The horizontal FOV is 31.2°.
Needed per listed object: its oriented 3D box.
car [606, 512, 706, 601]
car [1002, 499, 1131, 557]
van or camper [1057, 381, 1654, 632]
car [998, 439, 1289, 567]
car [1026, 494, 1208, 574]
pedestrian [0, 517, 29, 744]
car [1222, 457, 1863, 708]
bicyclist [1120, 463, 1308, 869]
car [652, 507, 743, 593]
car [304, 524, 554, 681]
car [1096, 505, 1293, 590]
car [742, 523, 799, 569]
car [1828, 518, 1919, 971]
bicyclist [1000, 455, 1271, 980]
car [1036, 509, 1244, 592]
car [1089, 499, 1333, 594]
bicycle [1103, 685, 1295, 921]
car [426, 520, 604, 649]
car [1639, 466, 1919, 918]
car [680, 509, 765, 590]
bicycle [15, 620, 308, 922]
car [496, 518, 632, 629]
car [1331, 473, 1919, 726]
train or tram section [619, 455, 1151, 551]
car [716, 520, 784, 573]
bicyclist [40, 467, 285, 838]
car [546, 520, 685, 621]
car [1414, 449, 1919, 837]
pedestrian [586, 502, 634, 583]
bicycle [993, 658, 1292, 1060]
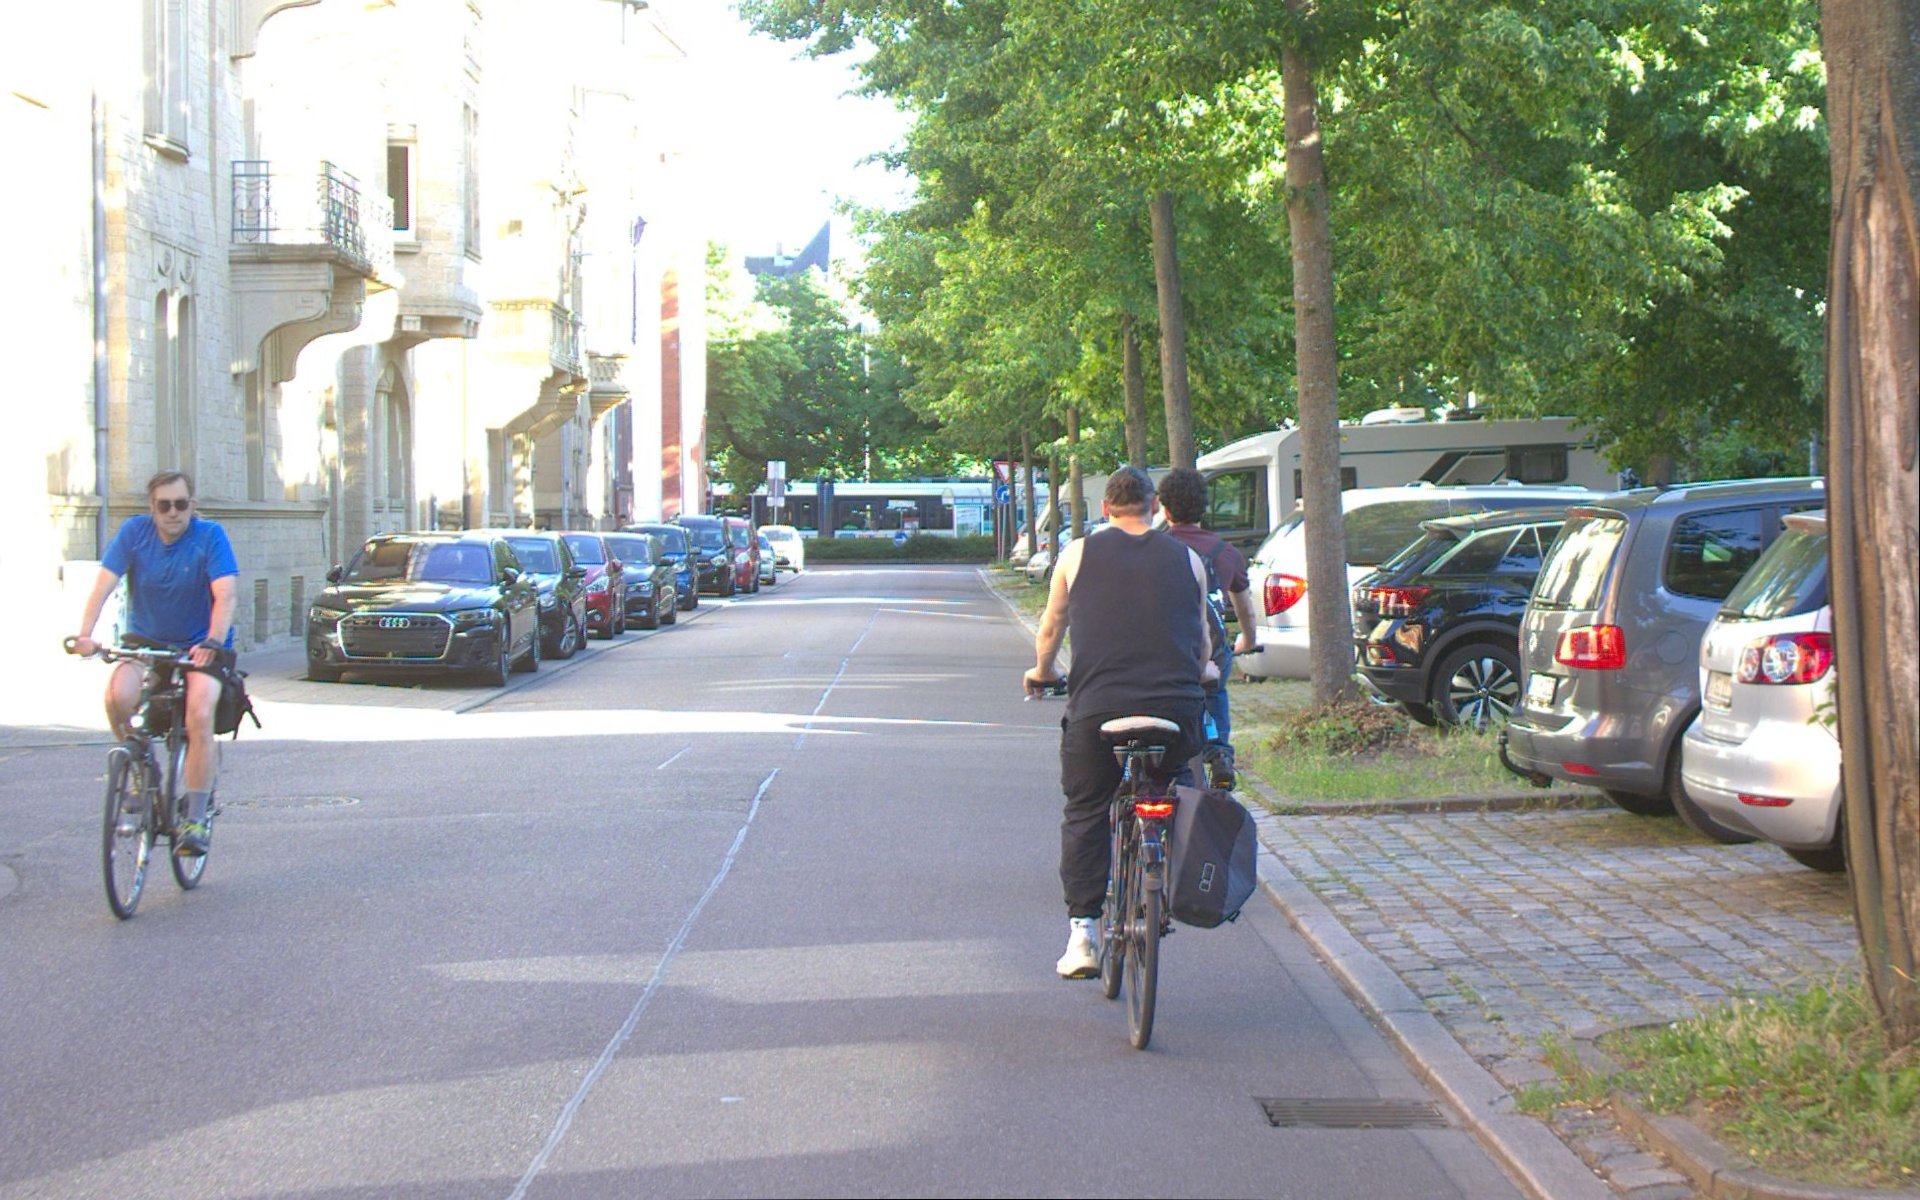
[{"bbox_3d":[-5.542,-0.819,62.942,1.595,1.484,2.737,3,2,-2],"label":"car"},{"bbox_3d":[3.416,-2.311,110.542,3.986,1.797,1.834,1,1,-2],"label":"car"},{"bbox_3d":[4.874,-1.174,43.320,7.147,2.638,2.464,-3,1,2],"label":"van or camper"},{"bbox_3d":[4.667,-2.478,88.162,7.146,2.968,2.465,-2,1,-3],"label":"car"},{"bbox_3d":[3.679,-1.554,80.874,4.082,1.644,1.641,-3,1,-2],"label":"car"},{"bbox_3d":[-7.179,0.222,24.244,0.888,1.571,1.053,-2,2,0],"label":"pedestrian"},{"bbox_3d":[4.424,-0.154,26.638,4.619,1.703,1.833,-2,1,1],"label":"car"},{"bbox_3d":[1.041,0.254,14.303,0.689,1.621,0.998,1,1,0],"label":"bicyclist"},{"bbox_3d":[-5.792,-1.135,76.230,1.640,1.777,4.354,2,2,0],"label":"car"},{"bbox_3d":[-5.311,-0.024,34.973,1.811,1.422,4.898,2,1,-1],"label":"car"},{"bbox_3d":[4.573,-1.018,67.429,3.773,1.594,1.691,-1,0,2],"label":"car"},{"bbox_3d":[-6.152,-1.760,111.698,1.583,1.371,4.131,2,2,0],"label":"car"},{"bbox_3d":[4.924,0.364,11.181,3.721,1.448,1.589,-3,1,0],"label":"car"},{"bbox_3d":[0.527,0.344,10.652,0.730,1.542,0.885,2,0,-1],"label":"bicyclist"},{"bbox_3d":[3.635,-0.993,69.920,4.139,1.594,1.702,-1,0,2],"label":"car"},{"bbox_3d":[4.419,-0.939,60.962,4.223,1.594,1.691,-1,0,2],"label":"car"},{"bbox_3d":[0.953,0.800,14.063,0.633,0.796,1.833,-1,2,0],"label":"bicycle"},{"bbox_3d":[-5.198,-0.201,40.543,1.696,1.448,4.028,0,1,-2],"label":"car"},{"bbox_3d":[4.988,0.221,13.504,4.273,1.628,1.690,-3,1,3],"label":"car"},{"bbox_3d":[-5.717,-1.245,83.186,1.689,1.819,4.273,2,2,0],"label":"car"},{"bbox_3d":[-3.230,0.659,14.084,0.757,1.104,1.907,-1,1,-1],"label":"bicycle"},{"bbox_3d":[-5.505,-0.399,48.121,1.628,1.448,3.838,1,2,-3],"label":"car"},{"bbox_3d":[4.755,-0.035,24.113,4.068,1.471,1.694,-3,2,1],"label":"car"},{"bbox_3d":[-3.172,-4.270,154.020,23.799,3.696,4.287,1,1,-22],"label":"train or tram section"},{"bbox_3d":[-5.739,-1.489,94.235,1.583,1.339,4.131,2,2,0],"label":"car"},{"bbox_3d":[-3.243,0.200,14.054,0.759,1.449,0.949,-1,1,-1],"label":"bicyclist"},{"bbox_3d":[-5.361,-0.495,53.976,1.675,1.425,4.551,2,2,0],"label":"car"},{"bbox_3d":[4.662,0.087,16.494,4.538,1.628,1.813,-4,1,-6],"label":"car"},{"bbox_3d":[-7.601,-1.243,74.727,0.938,1.736,0.735,1,1,0],"label":"pedestrian"},{"bbox_3d":[0.518,0.740,10.581,0.737,1.050,1.956,2,1,-2],"label":"bicycle"}]
